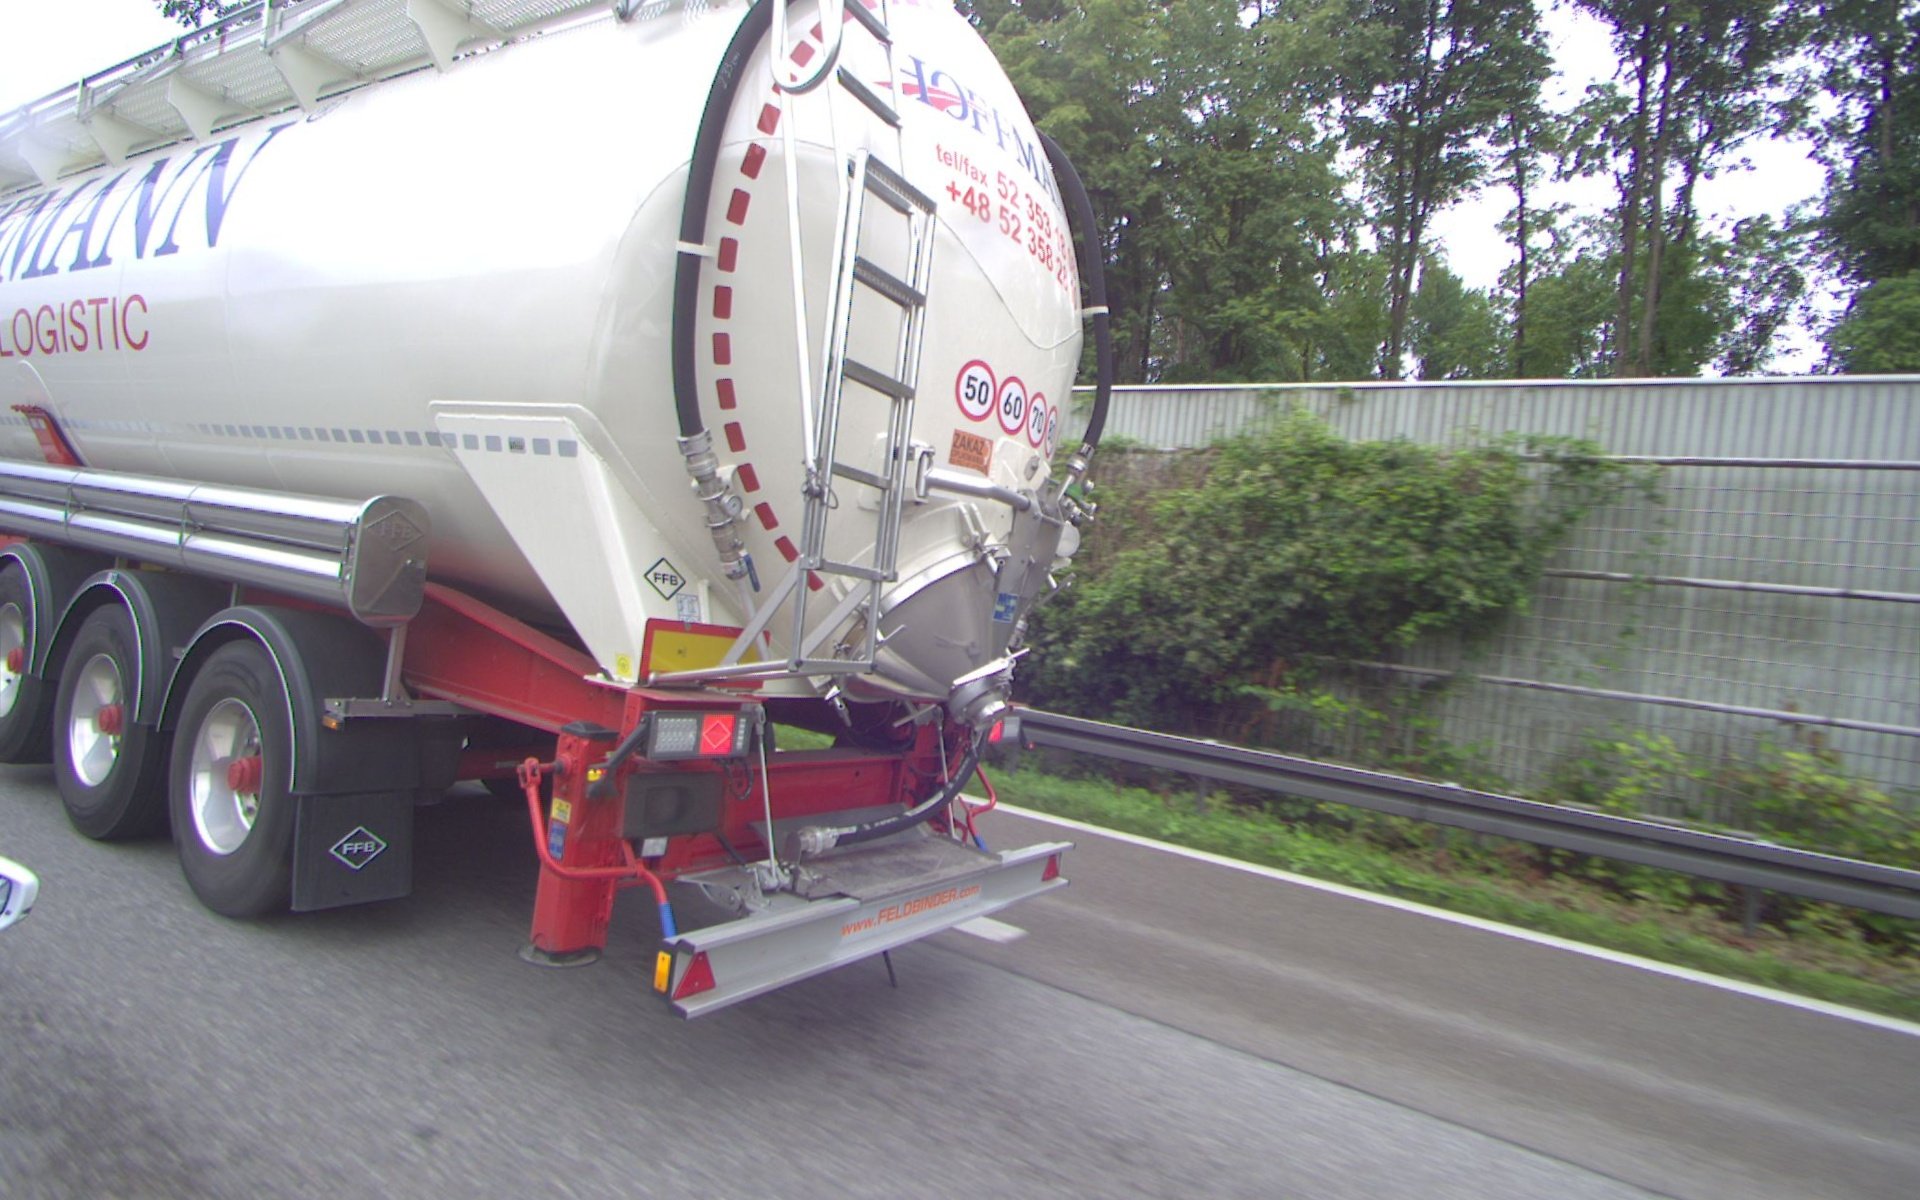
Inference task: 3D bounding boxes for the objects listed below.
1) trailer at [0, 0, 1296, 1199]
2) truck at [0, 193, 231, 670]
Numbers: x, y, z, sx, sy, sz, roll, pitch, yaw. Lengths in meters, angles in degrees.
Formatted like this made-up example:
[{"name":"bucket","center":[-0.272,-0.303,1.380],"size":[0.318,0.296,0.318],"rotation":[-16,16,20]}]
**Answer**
[{"name":"trailer","center":[-4.882,-1.024,6.737],"size":[12.912,3.986,2.672],"rotation":[7,0,32]},{"name":"truck","center":[-10.757,-1.709,10.430],"size":[6.449,3.959,2.698],"rotation":[7,0,33]}]
